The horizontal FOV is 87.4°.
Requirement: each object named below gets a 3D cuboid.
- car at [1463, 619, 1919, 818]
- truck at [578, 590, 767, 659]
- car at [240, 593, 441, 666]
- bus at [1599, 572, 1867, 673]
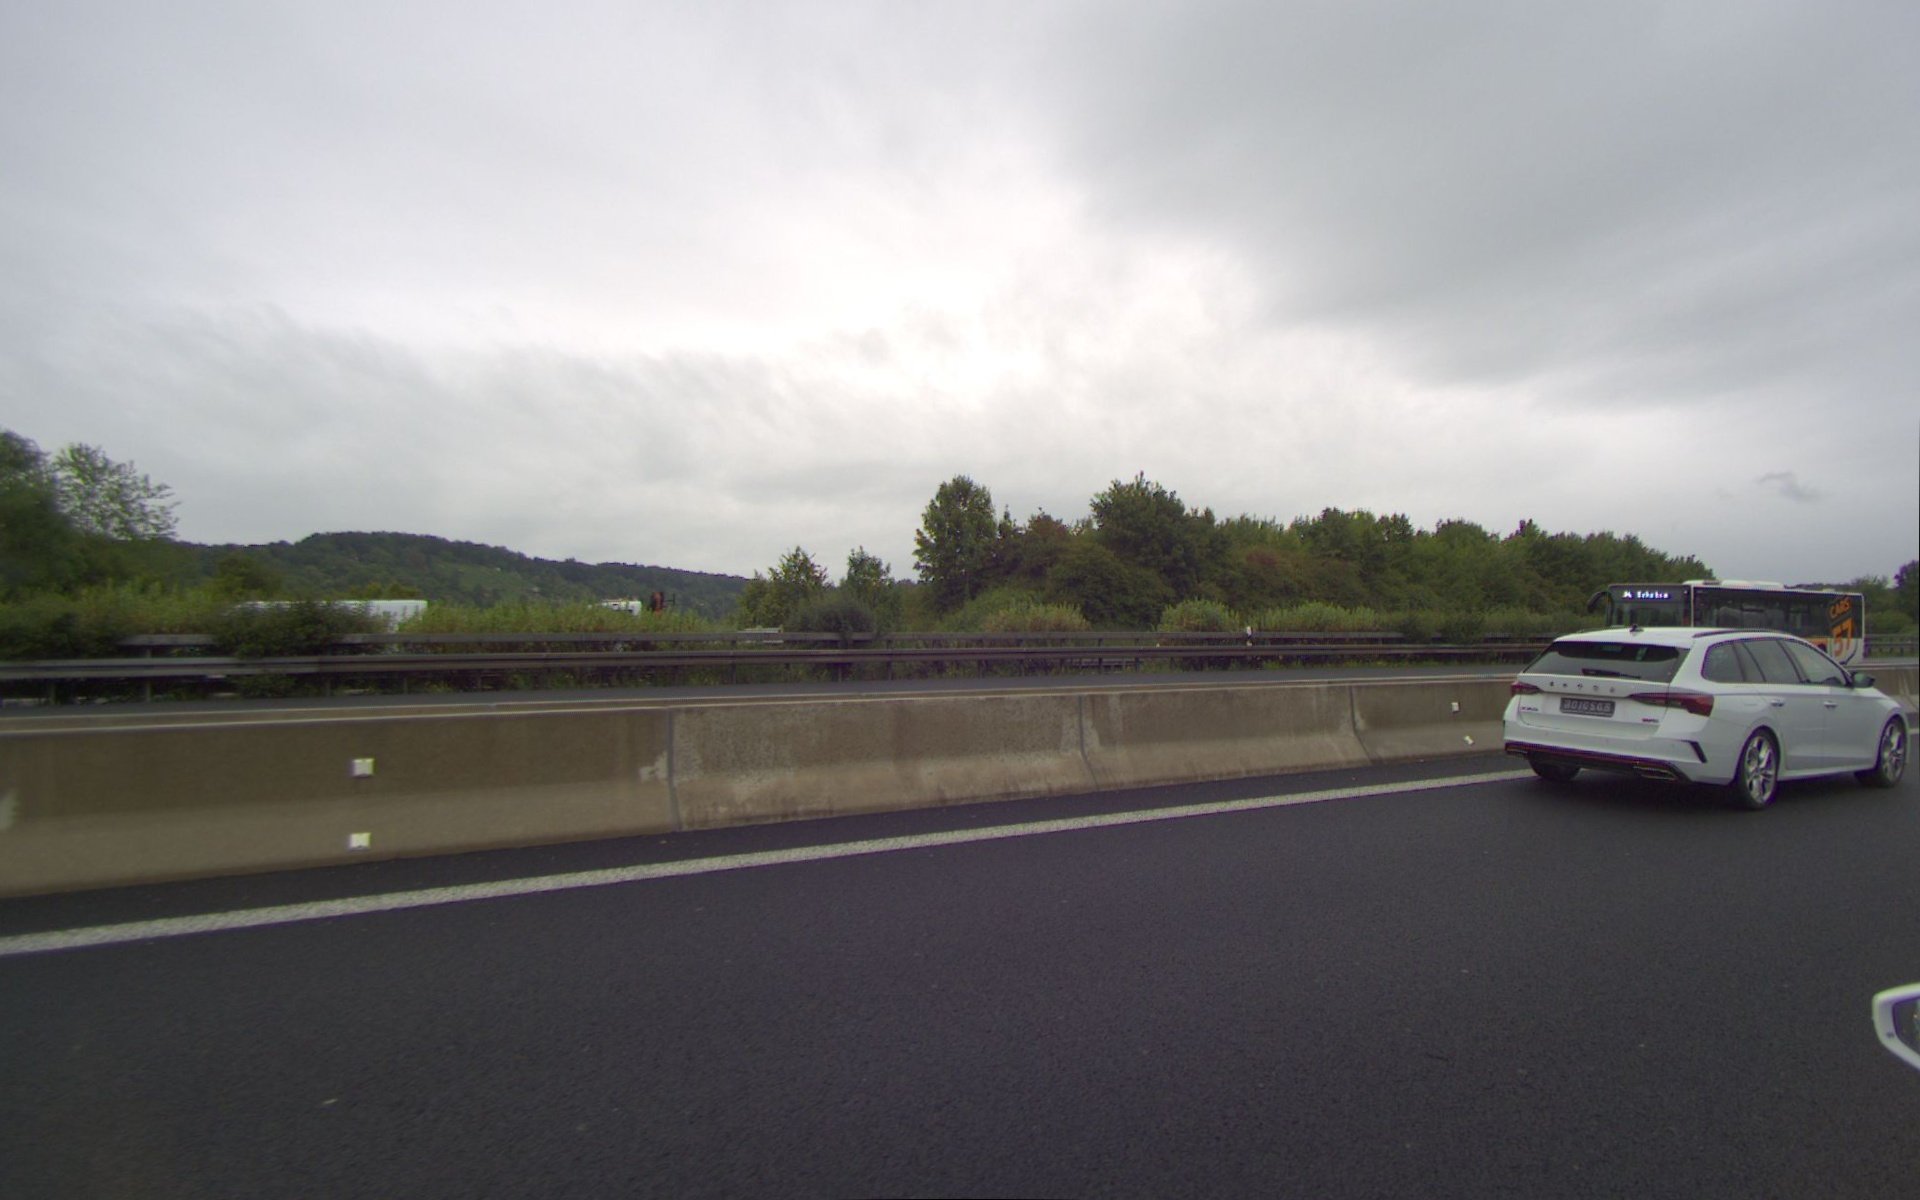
[{"bbox_3d":[7.036,0.959,9.417,4.719,1.475,1.811,2,-2,-29],"label":"car"},{"bbox_3d":[-10.059,0.886,35.383,6.089,2.271,2.015,1,-2,-31],"label":"truck"},{"bbox_3d":[-16.239,0.792,26.595,4.358,1.810,1.793,1,-2,-29],"label":"car"},{"bbox_3d":[26.136,0.843,33.668,11.752,2.997,2.687,2,-2,-29],"label":"bus"}]
